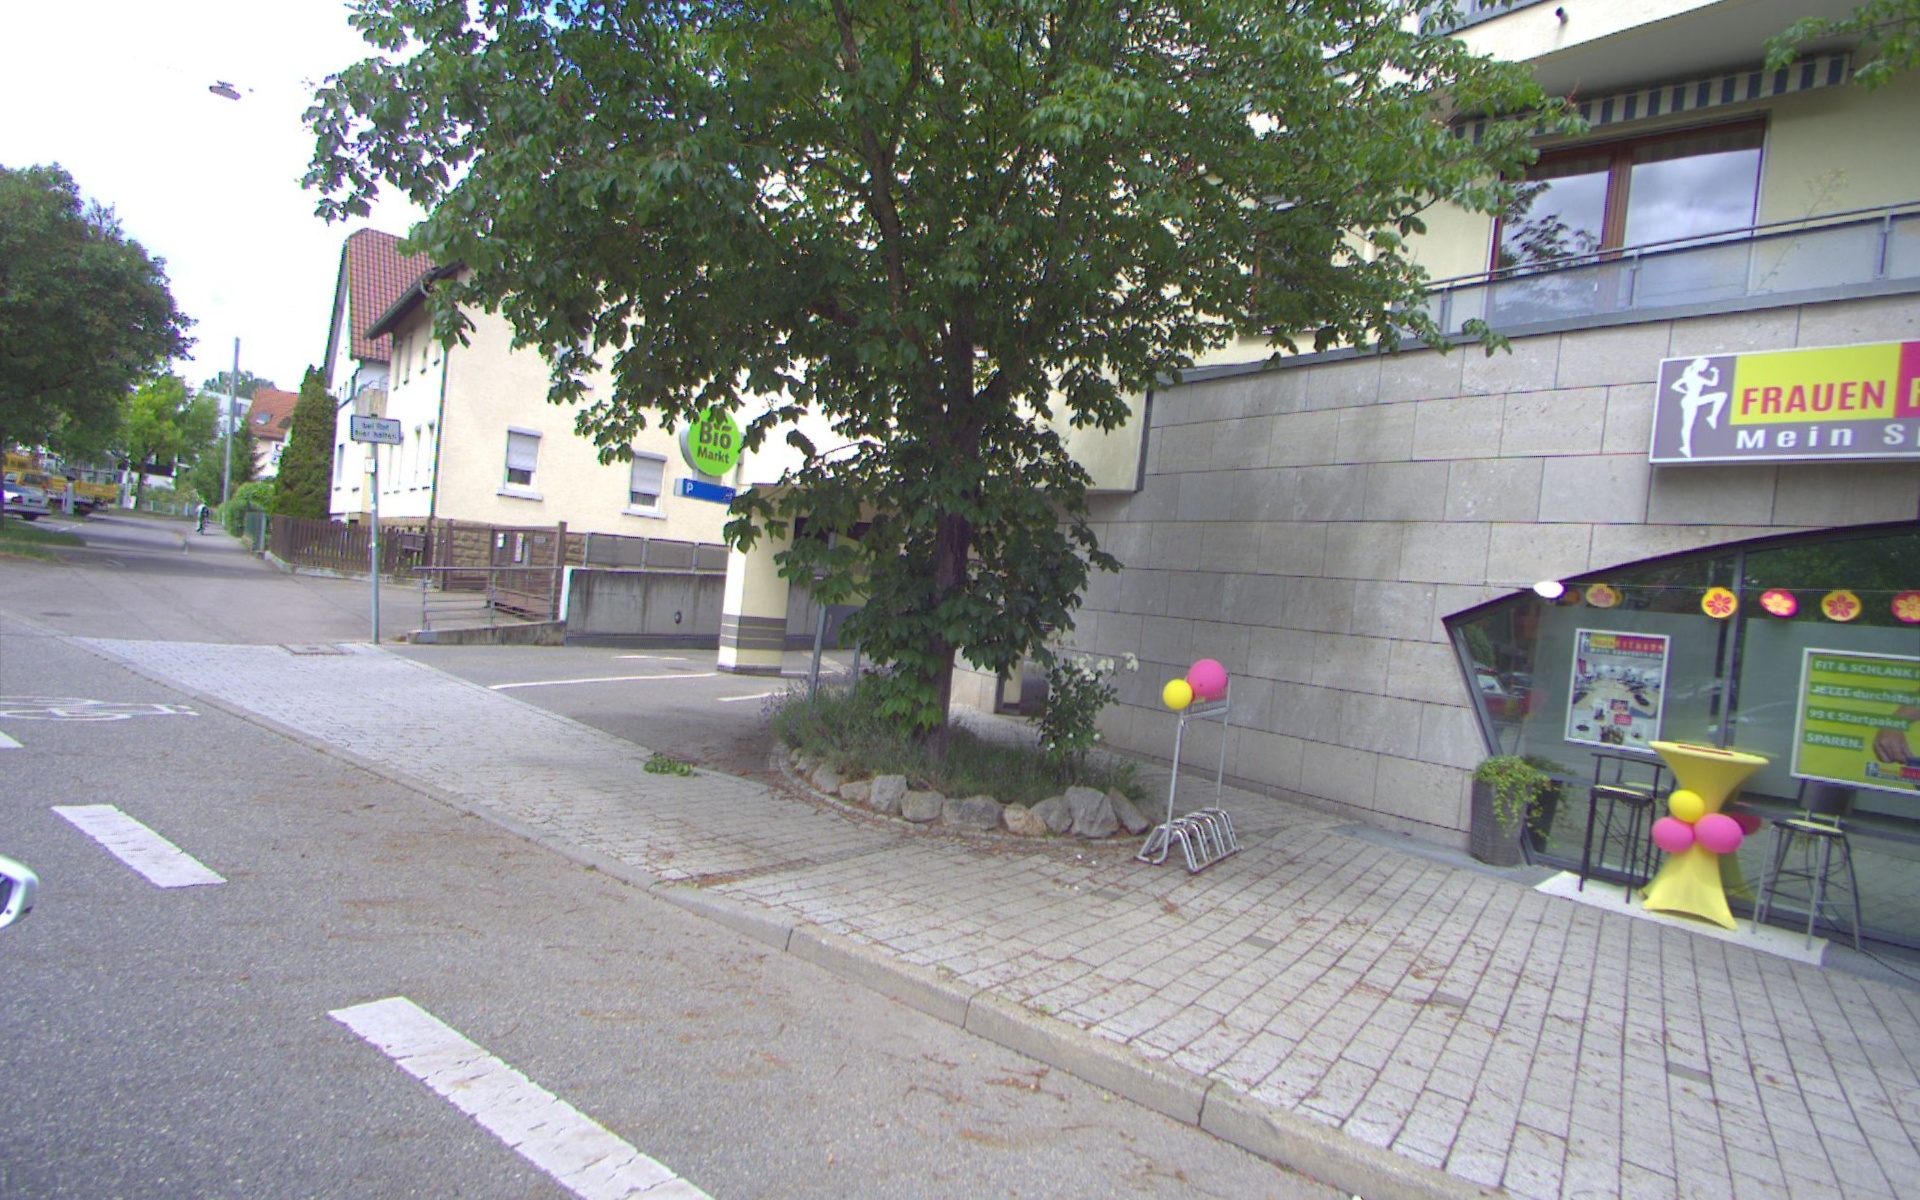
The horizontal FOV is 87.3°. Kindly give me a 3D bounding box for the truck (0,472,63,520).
[{"bbox_3d":[-49.758,-5.590,51.454,5.575,2.037,2.001,8,-2,-2],"label":"truck"}]

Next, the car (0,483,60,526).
[{"bbox_3d":[-39.516,-4.097,40.628,4.603,1.469,1.768,8,0,0],"label":"car"}]

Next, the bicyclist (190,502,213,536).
[{"bbox_3d":[-37.680,-4.047,49.981,0.557,1.577,0.590,6,-1,31],"label":"bicyclist"}]

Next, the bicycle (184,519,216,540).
[{"bbox_3d":[-37.734,-3.512,49.967,1.725,0.821,0.595,6,-2,31],"label":"bicycle"}]

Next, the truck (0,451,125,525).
[{"bbox_3d":[-49.777,-6.162,54.370,6.585,3.043,2.771,8,-2,-2],"label":"truck"}]
